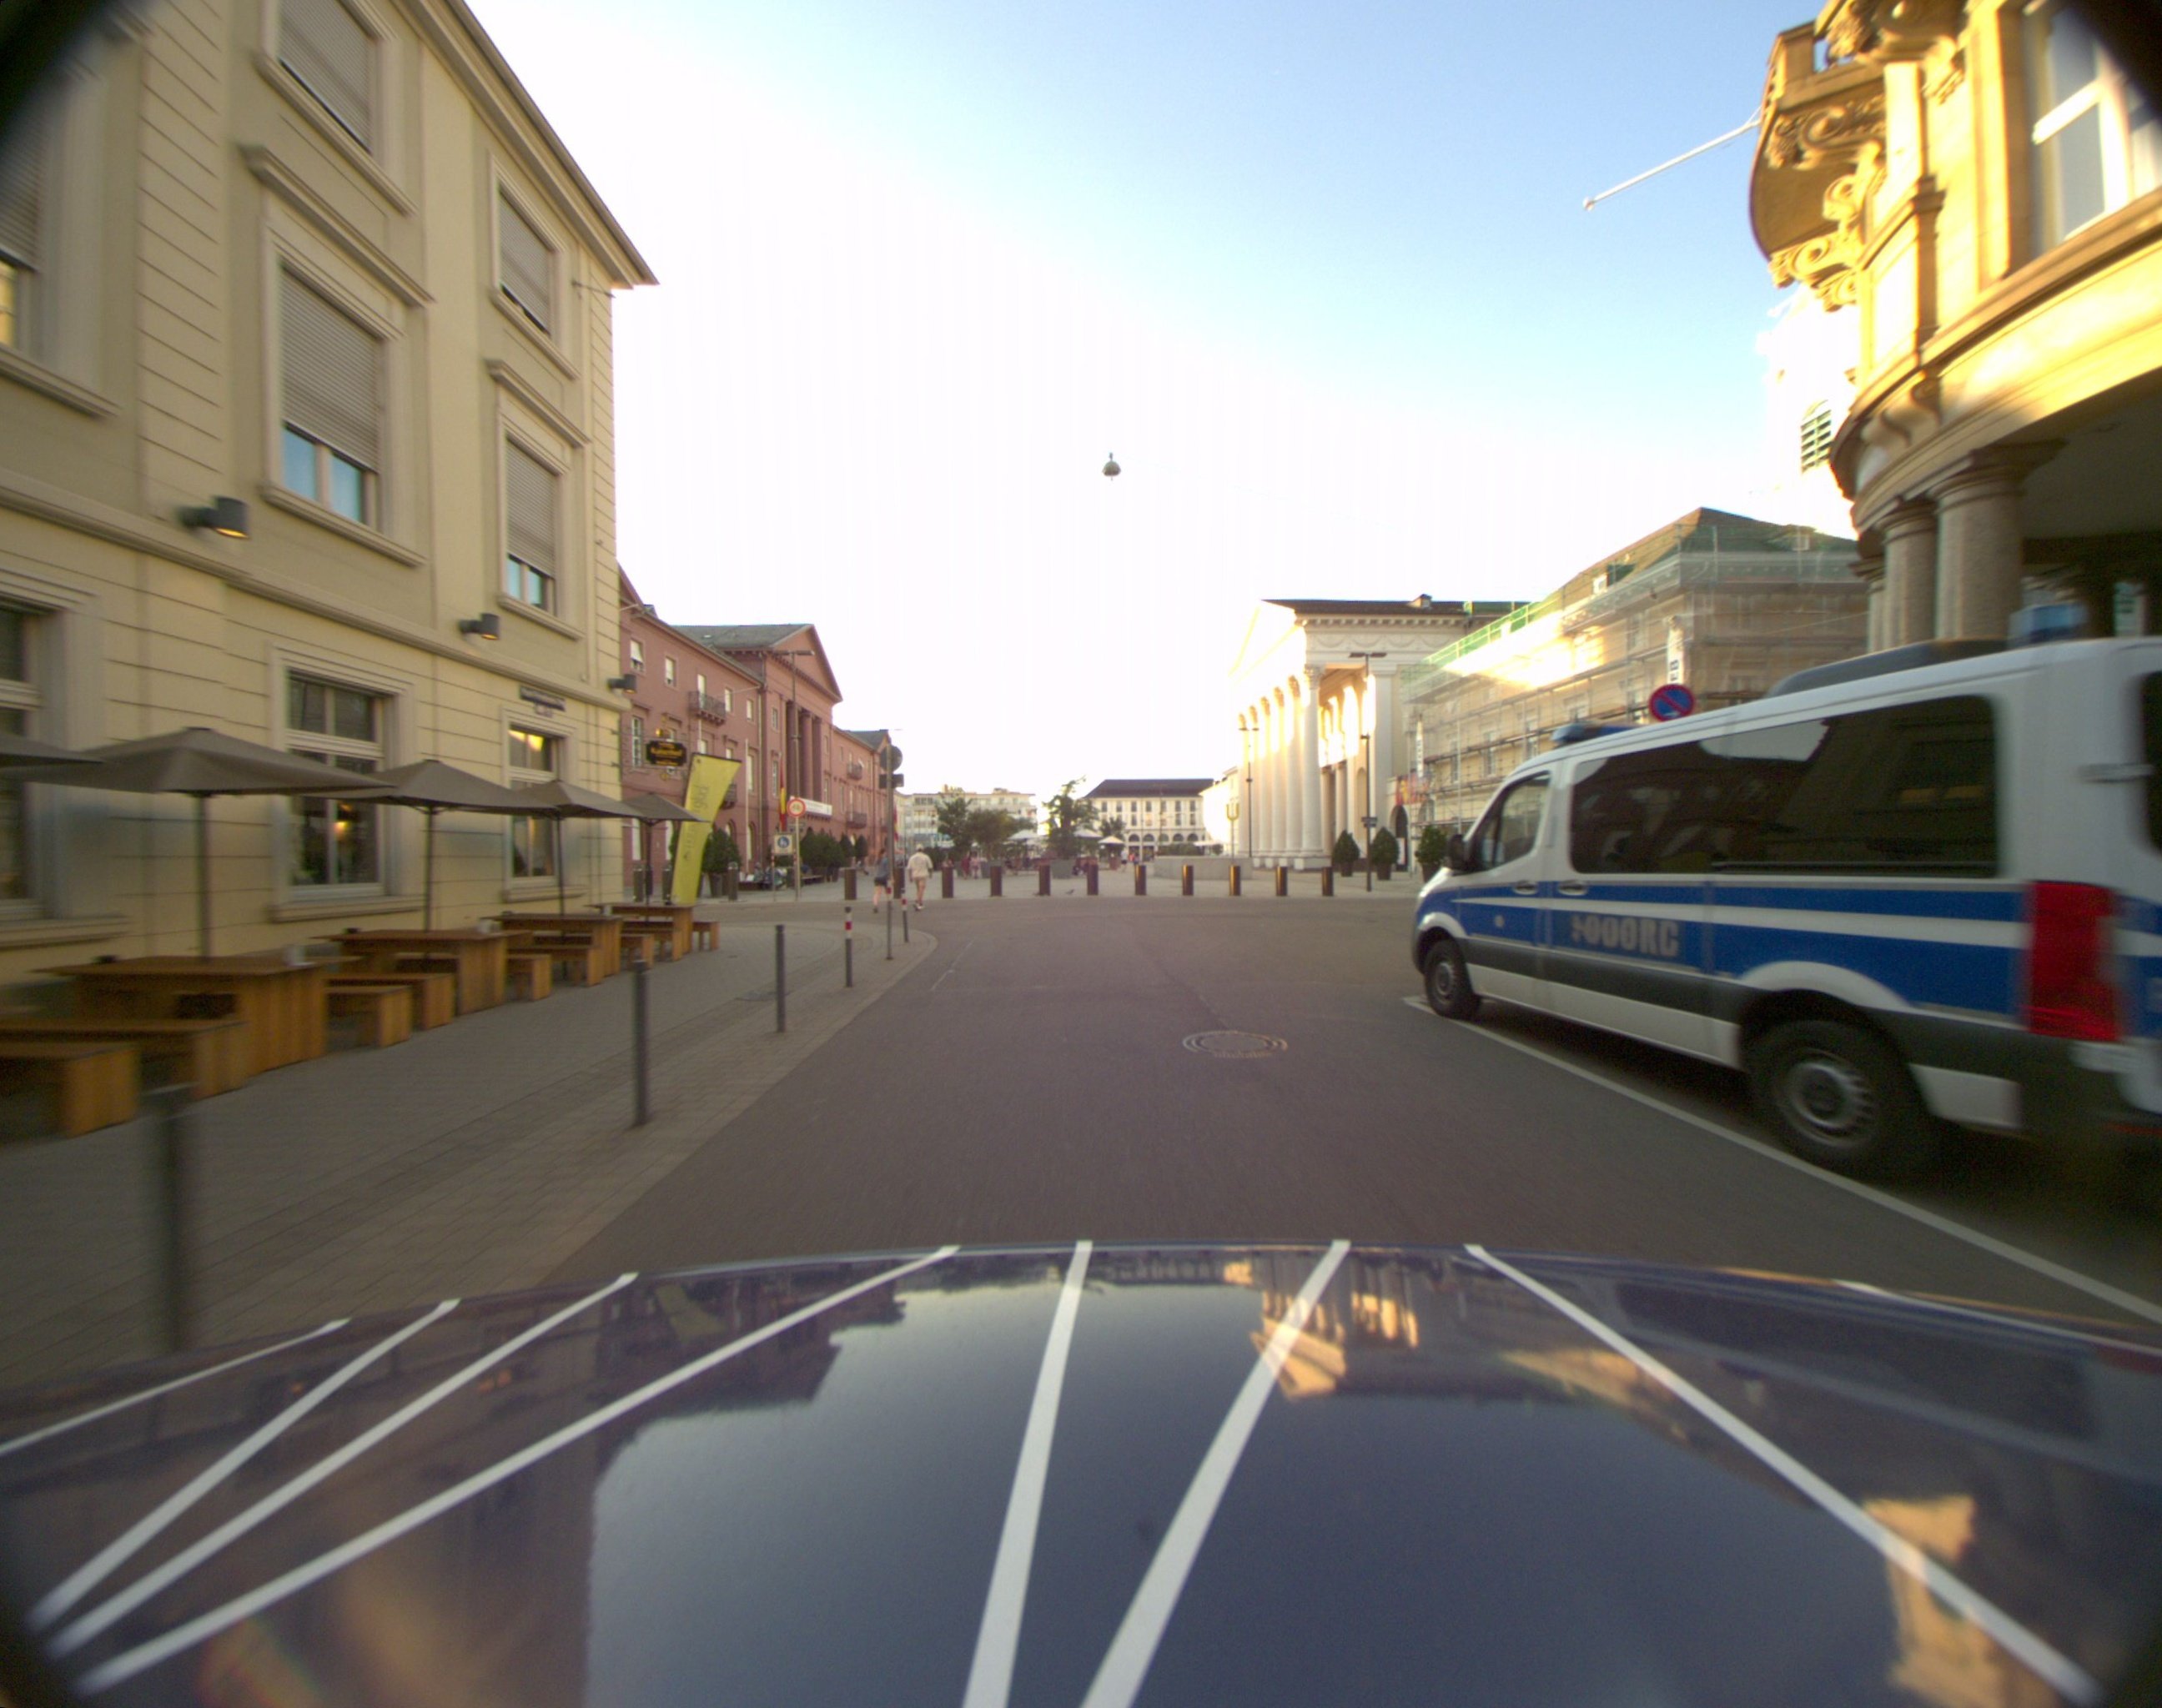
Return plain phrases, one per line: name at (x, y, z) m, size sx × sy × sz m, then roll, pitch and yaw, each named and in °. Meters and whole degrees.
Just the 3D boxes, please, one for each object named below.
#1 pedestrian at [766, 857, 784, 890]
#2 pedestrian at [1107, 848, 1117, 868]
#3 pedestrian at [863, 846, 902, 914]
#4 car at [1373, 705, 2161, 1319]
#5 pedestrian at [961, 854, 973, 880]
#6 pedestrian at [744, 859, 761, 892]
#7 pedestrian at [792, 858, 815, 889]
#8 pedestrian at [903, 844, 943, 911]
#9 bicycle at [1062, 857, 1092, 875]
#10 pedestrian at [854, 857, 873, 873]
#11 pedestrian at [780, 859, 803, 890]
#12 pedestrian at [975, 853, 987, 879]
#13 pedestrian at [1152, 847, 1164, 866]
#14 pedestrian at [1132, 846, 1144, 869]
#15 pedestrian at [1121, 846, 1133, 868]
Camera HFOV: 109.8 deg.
pedestrian at (-14.011, 0.885, 34.783) m, size 0.585 × 1.439 × 0.829 m, roll -1°, pitch 1°, yaw -31°
pedestrian at (2.717, 0.327, 67.068) m, size 0.856 × 1.720 × 0.881 m, roll -1°, pitch 1°, yaw 1°
pedestrian at (-5.131, 0.664, 19.646) m, size 0.607 × 1.720 × 0.719 m, roll 0°, pitch 1°, yaw 41°
car at (4.234, 0.532, 5.341) m, size 1.999 × 2.158 × 5.204 m, roll -1°, pitch 0°, yaw -5°
pedestrian at (-7.022, 0.806, 46.880) m, size 0.684 × 1.557 × 0.652 m, roll -1°, pitch 1°, yaw -4°
pedestrian at (-14.782, 0.954, 34.144) m, size 0.585 × 1.439 × 0.829 m, roll -1°, pitch 1°, yaw -31°
pedestrian at (-13.257, 0.915, 36.315) m, size 0.828 × 1.439 × 0.585 m, roll 0°, pitch 1°, yaw 29°
pedestrian at (-4.149, 0.609, 20.001) m, size 0.667 × 1.720 × 0.767 m, roll 0°, pitch 1°, yaw 41°
bicycle at (-0.256, 0.768, 47.670) m, size 1.683 × 1.115 × 0.846 m, roll 0°, pitch 1°, yaw 32°
pedestrian at (-17.004, 0.863, 59.518) m, size 1.406 × 1.255 × 1.325 m, roll -1°, pitch 1°, yaw -15°
pedestrian at (-13.540, 0.961, 35.530) m, size 0.828 × 1.439 × 0.585 m, roll 0°, pitch 1°, yaw 31°
pedestrian at (-6.179, 0.743, 46.938) m, size 0.684 × 1.550 × 0.652 m, roll -1°, pitch 1°, yaw -4°
pedestrian at (7.513, 0.228, 73.913) m, size 1.092 × 1.900 × 0.881 m, roll -1°, pitch 1°, yaw 1°
pedestrian at (4.454, 0.275, 59.299) m, size 0.856 × 1.720 × 0.881 m, roll -1°, pitch 1°, yaw 1°
pedestrian at (3.607, 0.264, 59.870) m, size 0.856 × 1.720 × 0.881 m, roll -1°, pitch 1°, yaw 1°
